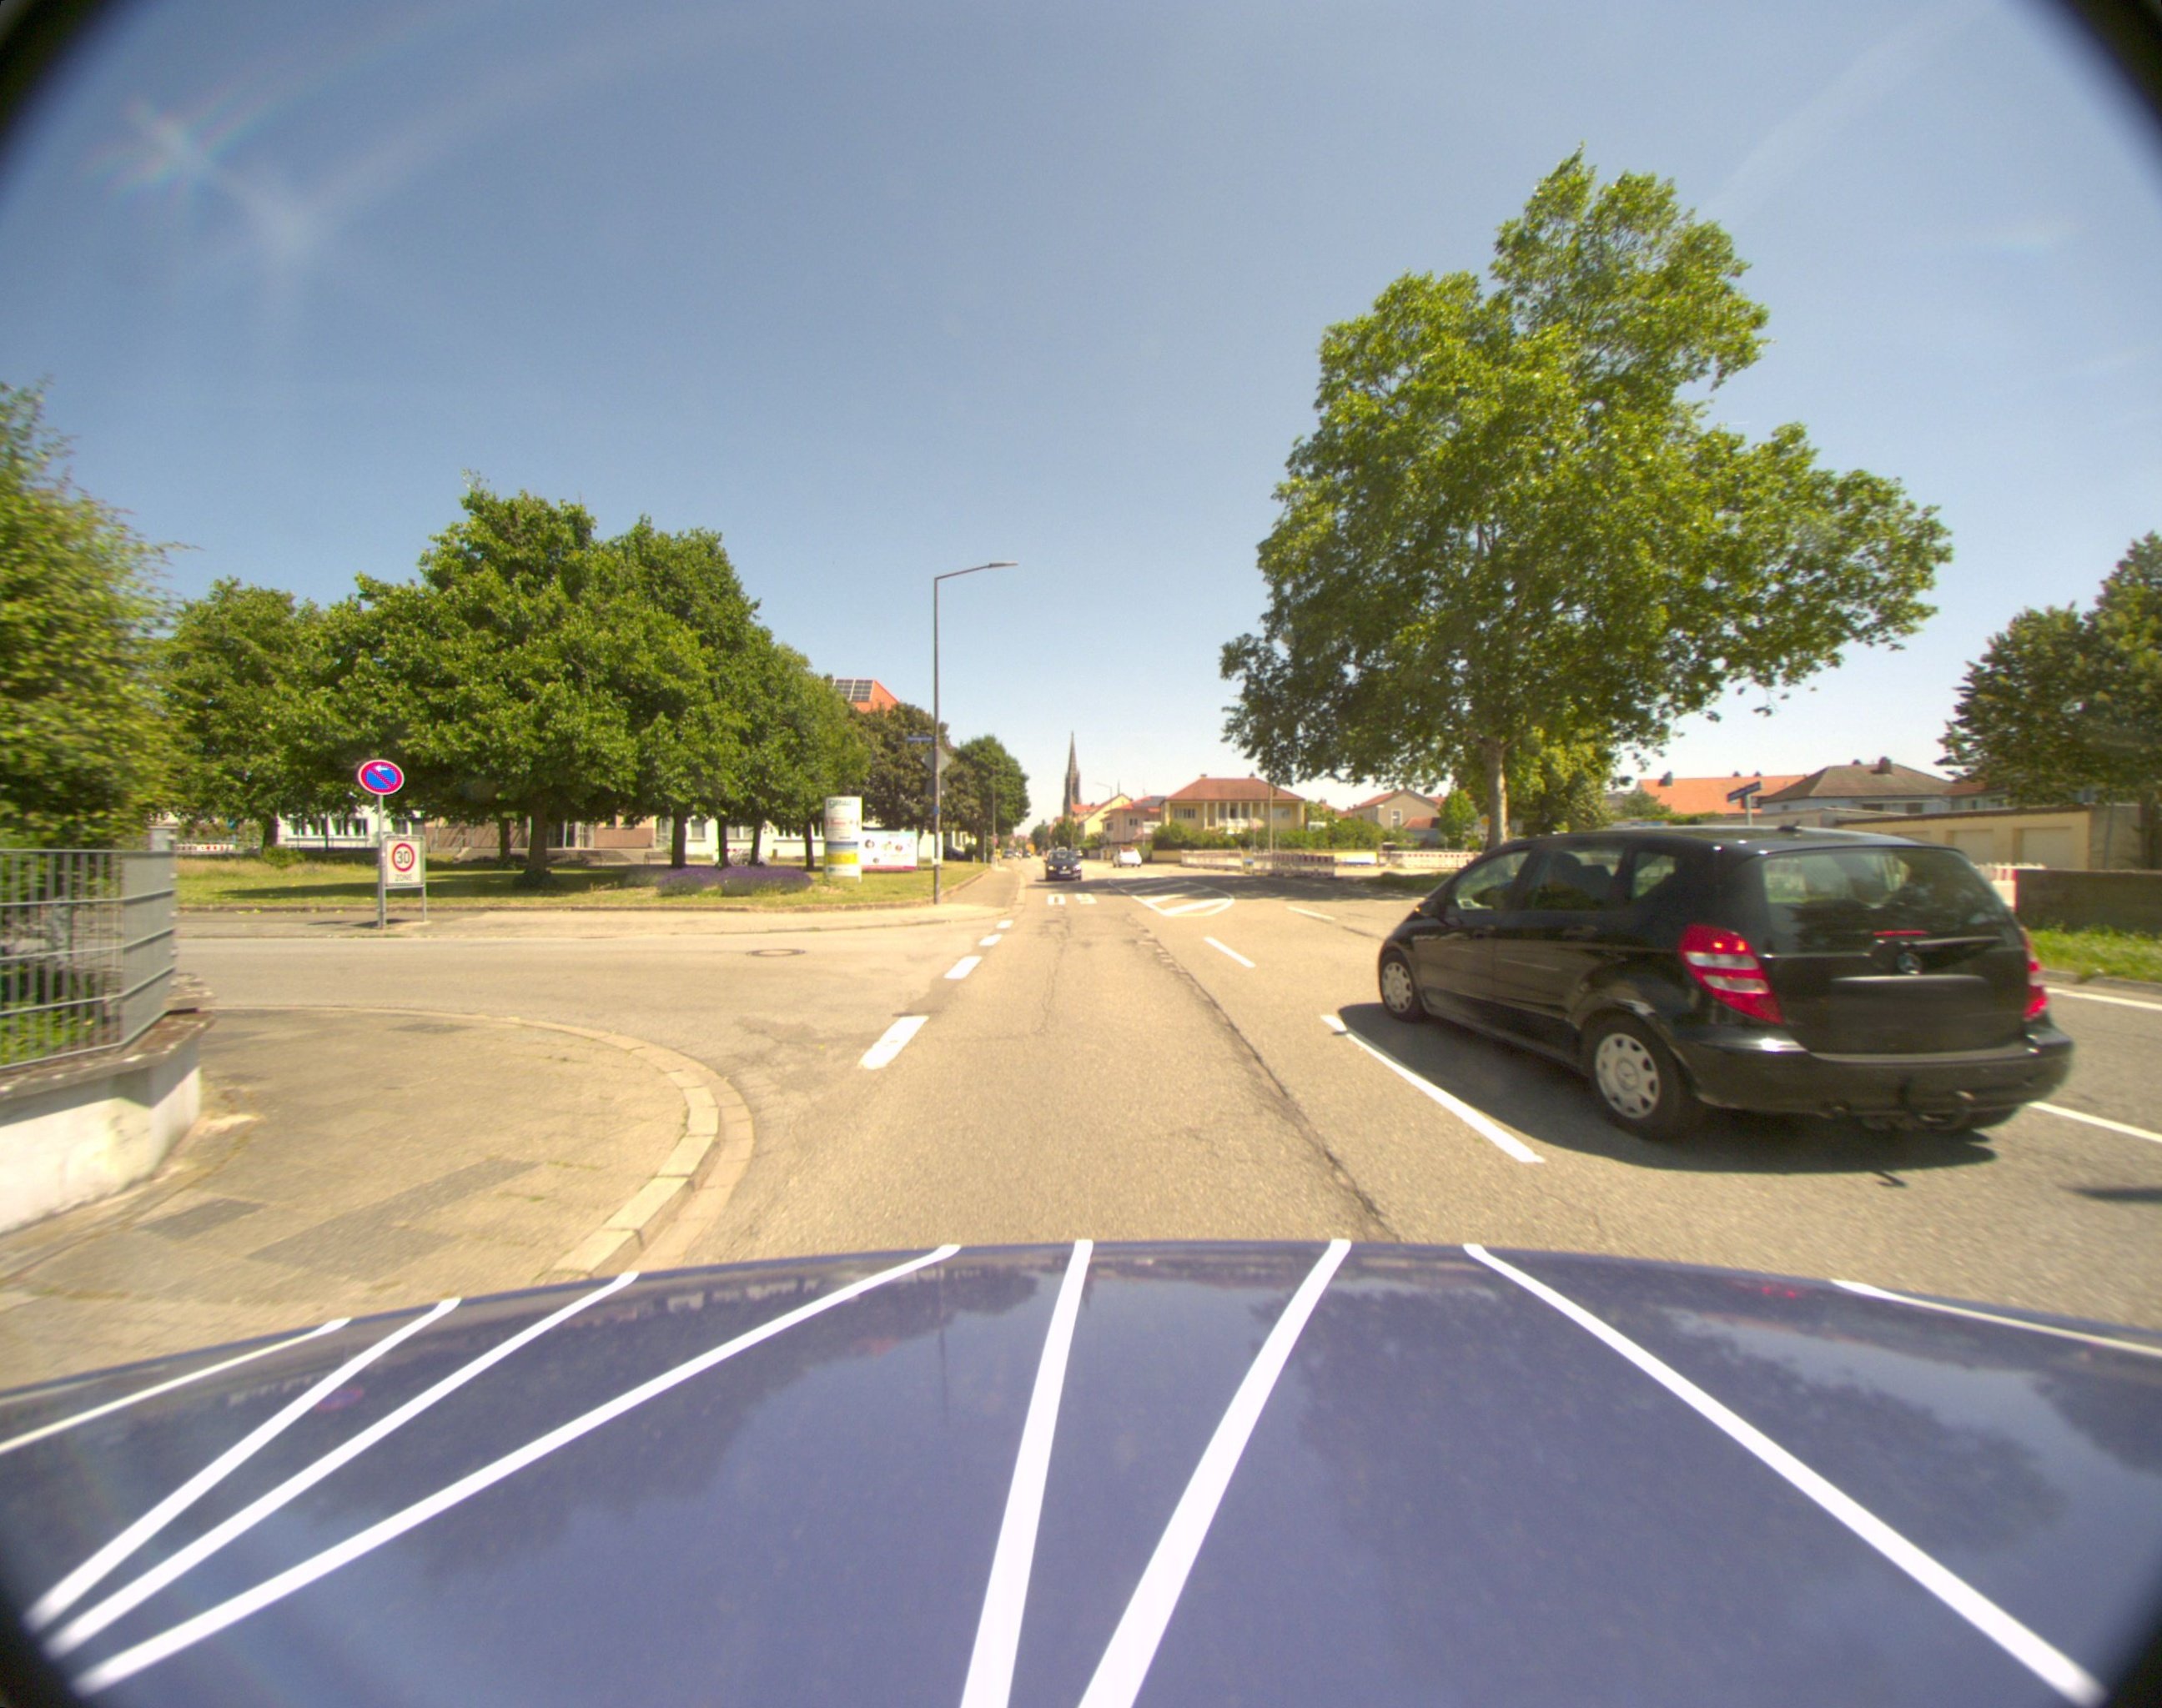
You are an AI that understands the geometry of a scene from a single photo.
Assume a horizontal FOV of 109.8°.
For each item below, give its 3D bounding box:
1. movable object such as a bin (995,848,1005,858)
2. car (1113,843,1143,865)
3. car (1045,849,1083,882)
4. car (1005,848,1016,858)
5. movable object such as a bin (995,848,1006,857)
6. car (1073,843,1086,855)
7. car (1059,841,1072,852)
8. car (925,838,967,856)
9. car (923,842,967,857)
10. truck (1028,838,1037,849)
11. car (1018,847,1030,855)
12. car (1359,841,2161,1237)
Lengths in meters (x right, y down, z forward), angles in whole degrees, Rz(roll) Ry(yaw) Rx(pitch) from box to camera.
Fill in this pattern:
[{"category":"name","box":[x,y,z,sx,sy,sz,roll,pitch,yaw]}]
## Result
[{"category":"movable object such as a bin","box":[-12.031,-0.209,112.709,1.500,1.472,1.422,0,1,-7]},{"category":"car","box":[3.463,-0.030,56.684,1.704,1.501,3.456,-2,1,-5]},{"category":"car","box":[-0.874,0.502,36.745,1.608,1.436,3.907,-2,1,-4]},{"category":"car","box":[-11.425,-0.178,122.762,1.608,1.403,3.906,-2,1,-6]},{"category":"movable object such as a bin","box":[-12.110,-0.228,114.320,1.500,1.472,1.422,0,1,-7]},{"category":"car","box":[-0.210,-0.734,107.807,1.390,1.568,3.318,0,1,-7]},{"category":"car","box":[-2.555,-1.279,126.831,1.719,1.776,3.887,0,1,-7]},{"category":"car","box":[-14.500,-0.743,81.706,4.369,1.776,1.998,2,1,-8]},{"category":"car","box":[-14.096,-0.464,78.892,4.369,1.427,1.998,2,1,-8]},{"category":"truck","box":[-13.363,-2.831,208.856,2.223,2.921,5.347,0,1,-7]},{"category":"car","box":[-9.856,-0.550,130.930,1.712,1.449,3.560,0,1,-9]},{"category":"car","box":[3.459,0.708,4.959,1.730,1.524,3.828,-2,1,-2]}]
